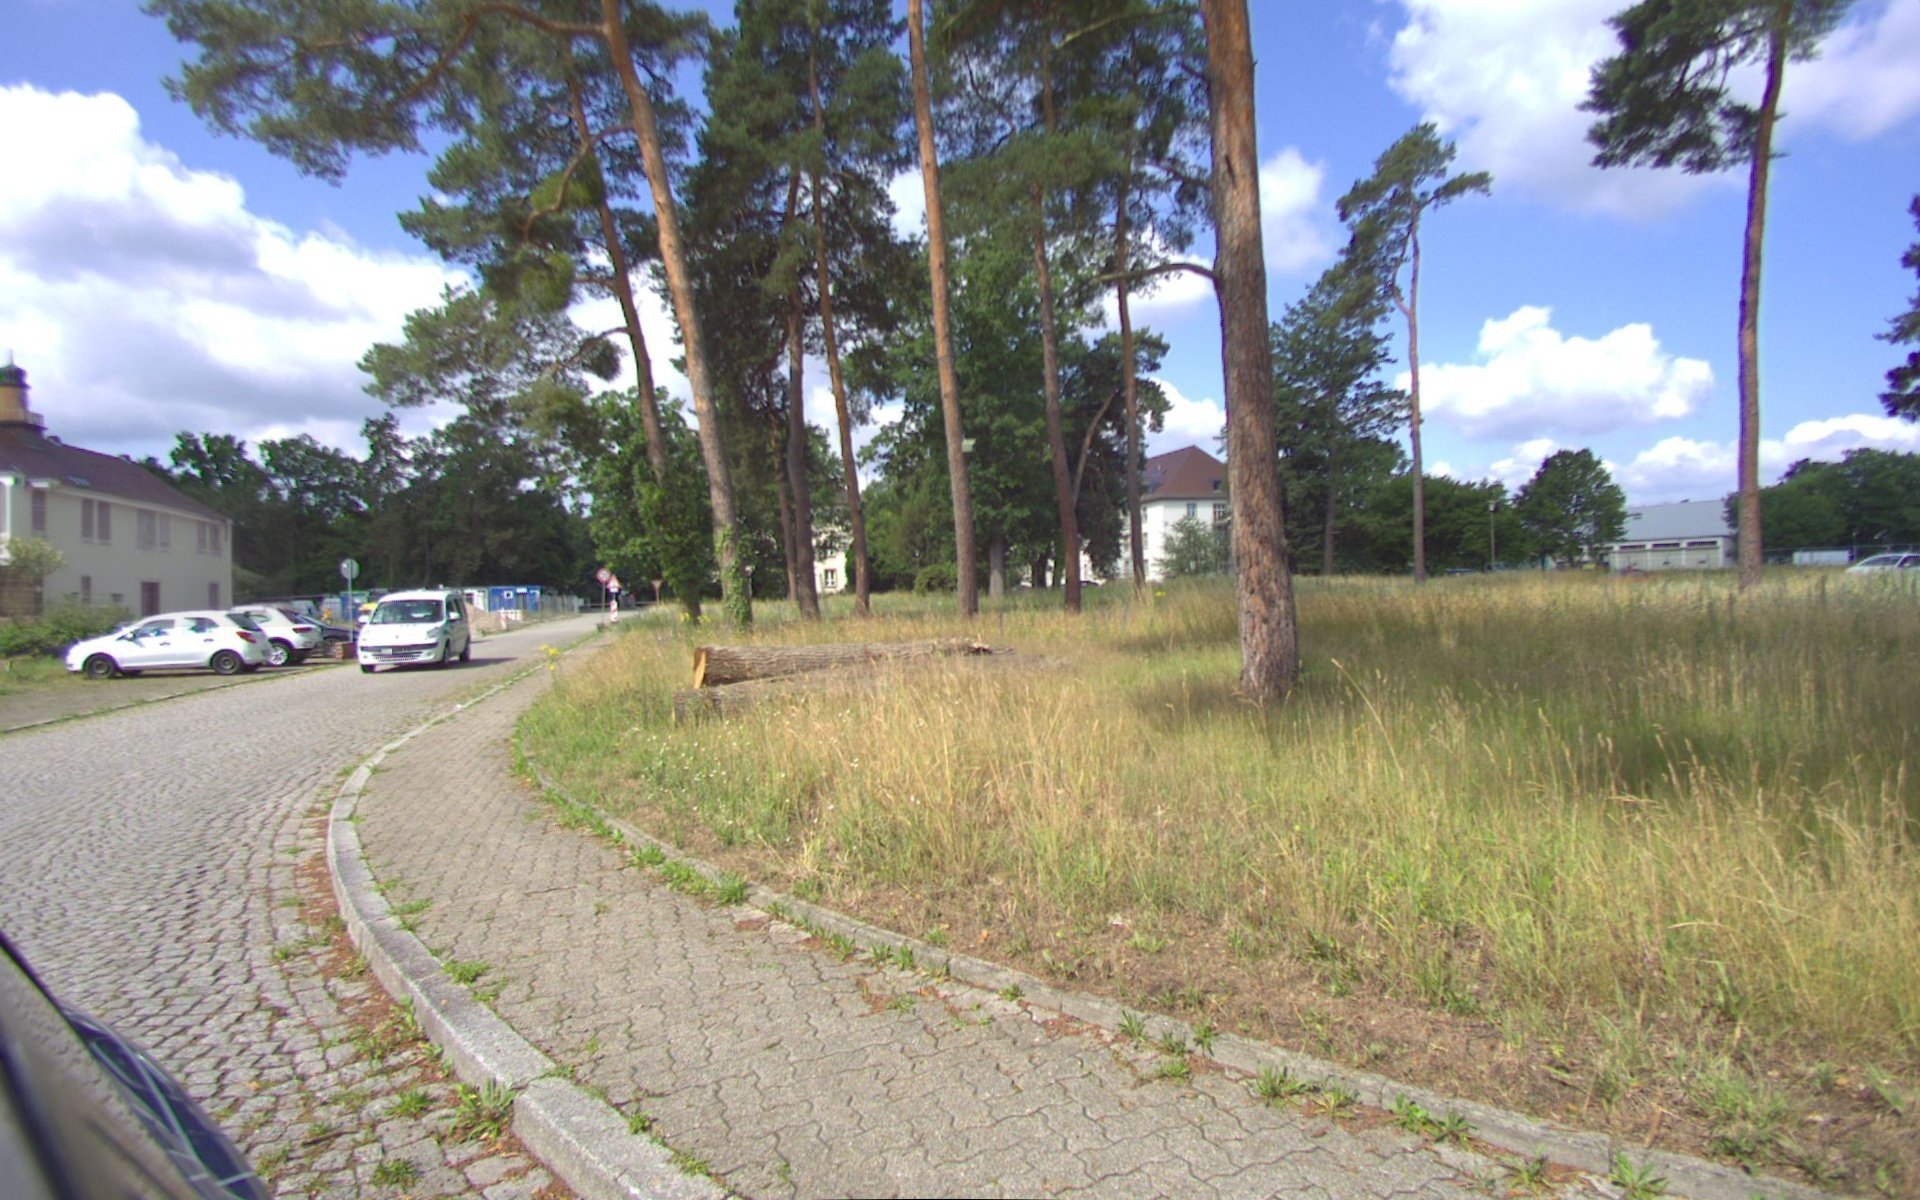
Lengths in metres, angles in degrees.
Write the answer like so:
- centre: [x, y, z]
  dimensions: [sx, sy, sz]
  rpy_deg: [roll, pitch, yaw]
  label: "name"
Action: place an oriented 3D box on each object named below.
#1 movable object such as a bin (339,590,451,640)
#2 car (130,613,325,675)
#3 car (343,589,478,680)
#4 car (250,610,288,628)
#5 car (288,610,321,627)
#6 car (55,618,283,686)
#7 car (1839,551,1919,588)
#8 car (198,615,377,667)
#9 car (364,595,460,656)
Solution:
- centre: [-30.573, 0.816, 55.023]
  dimensions: [2.127, 2.541, 5.634]
  rpy_deg: [-1, -1, 12]
  label: "movable object such as a bin"
- centre: [-19.628, 1.147, 27.318]
  dimensions: [3.931, 1.518, 1.752]
  rpy_deg: [0, 0, -18]
  label: "car"
- centre: [-12.993, 0.775, 24.230]
  dimensions: [1.809, 1.883, 4.844]
  rpy_deg: [-2, 0, -16]
  label: "car"
- centre: [-73.134, 1.994, 107.236]
  dimensions: [1.854, 1.741, 4.721]
  rpy_deg: [-2, 0, -15]
  label: "car"
- centre: [-70.201, 1.928, 108.374]
  dimensions: [1.773, 1.696, 4.051]
  rpy_deg: [-2, 0, -15]
  label: "car"
- centre: [-18.913, 1.207, 24.409]
  dimensions: [3.985, 1.475, 1.709]
  rpy_deg: [0, 0, -18]
  label: "car"
- centre: [36.601, -1.194, 39.275]
  dimensions: [4.002, 1.359, 1.906]
  rpy_deg: [-2, 0, -17]
  label: "car"
- centre: [-20.934, 1.253, 31.724]
  dimensions: [4.391, 1.486, 1.751]
  rpy_deg: [0, 0, -20]
  label: "car"
- centre: [-20.566, 0.898, 38.227]
  dimensions: [1.888, 2.069, 5.695]
  rpy_deg: [-2, 0, -15]
  label: "car"
